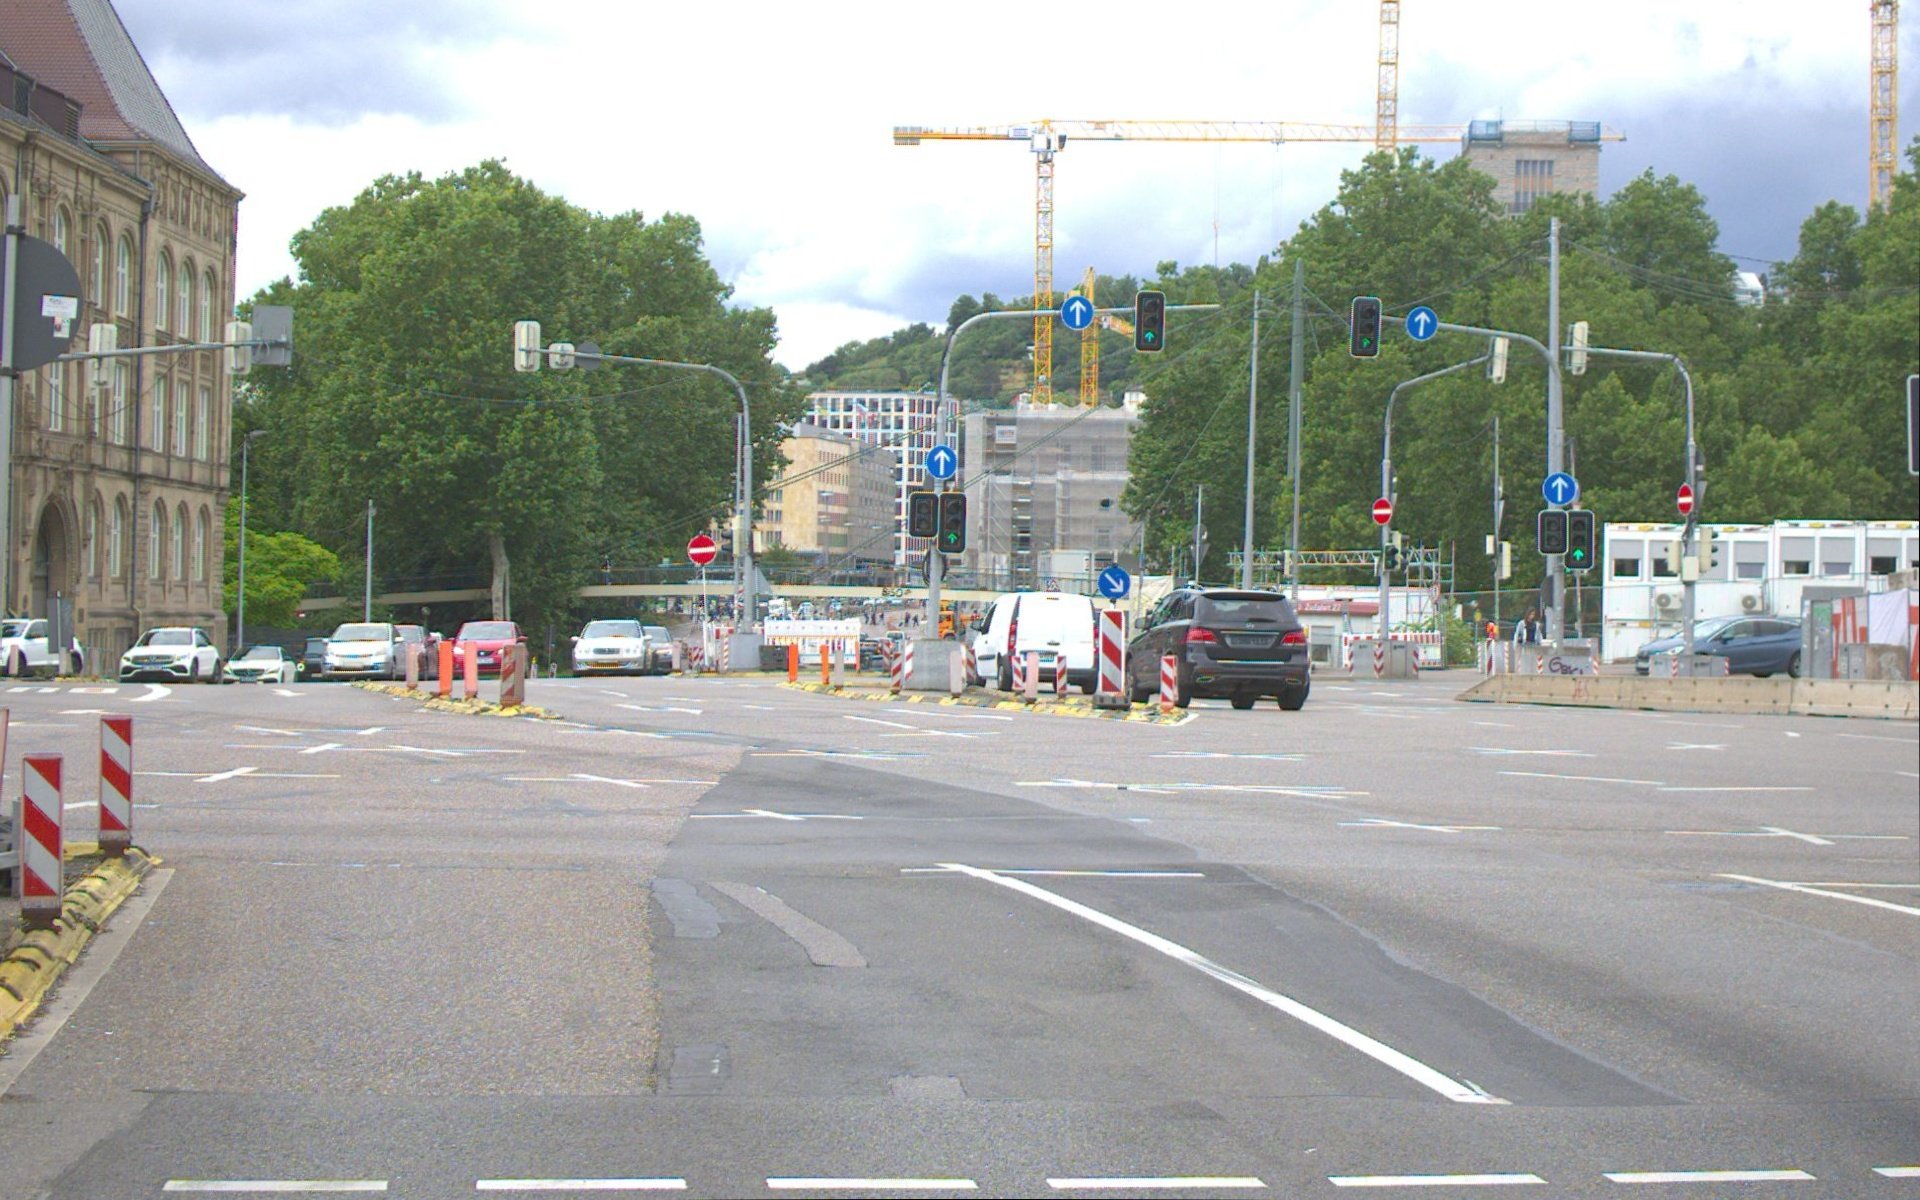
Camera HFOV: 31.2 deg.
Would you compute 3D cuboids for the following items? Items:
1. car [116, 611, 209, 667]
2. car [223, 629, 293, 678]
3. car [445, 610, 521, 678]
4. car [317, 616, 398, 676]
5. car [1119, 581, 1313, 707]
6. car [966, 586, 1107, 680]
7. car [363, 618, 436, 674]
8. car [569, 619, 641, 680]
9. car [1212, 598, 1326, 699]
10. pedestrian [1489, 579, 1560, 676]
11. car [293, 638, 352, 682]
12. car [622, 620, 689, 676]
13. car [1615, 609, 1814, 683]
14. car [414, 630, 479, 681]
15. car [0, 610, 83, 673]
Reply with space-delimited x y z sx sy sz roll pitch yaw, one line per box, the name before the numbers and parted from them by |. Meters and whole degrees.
car | -20.694 1.000 89.336 1.676 1.393 3.683 1 0 -2
car | -21.083 1.606 103.355 1.675 1.393 3.684 1 0 -6
car | -11.457 1.047 82.691 1.675 1.575 3.684 1 0 -6
car | -14.640 1.103 83.636 1.675 1.393 3.684 1 0 -6
car | 3.658 0.610 49.845 1.831 1.740 4.256 1 0 -9
car | 1.352 0.575 62.189 1.816 1.619 4.001 1 0 -9
car | -14.703 1.187 90.275 1.675 1.393 3.684 1 0 -6
car | -8.553 1.167 82.887 1.675 1.393 3.684 1 0 -6
car | 5.381 0.825 60.260 1.676 1.696 3.374 1 0 0
pedestrian | 11.818 0.579 71.979 1.094 2.007 1.185 1 0 -11
car | -21.679 2.029 116.965 1.675 1.393 3.684 1 0 -6
car | -7.974 1.236 89.931 1.675 1.393 3.684 1 0 -6
car | 16.990 1.040 77.434 3.986 1.619 1.823 1 0 -18
car | -14.874 1.588 99.726 1.675 1.393 3.684 1 0 -6
car | -21.767 0.937 79.786 1.676 1.393 3.682 1 0 4
